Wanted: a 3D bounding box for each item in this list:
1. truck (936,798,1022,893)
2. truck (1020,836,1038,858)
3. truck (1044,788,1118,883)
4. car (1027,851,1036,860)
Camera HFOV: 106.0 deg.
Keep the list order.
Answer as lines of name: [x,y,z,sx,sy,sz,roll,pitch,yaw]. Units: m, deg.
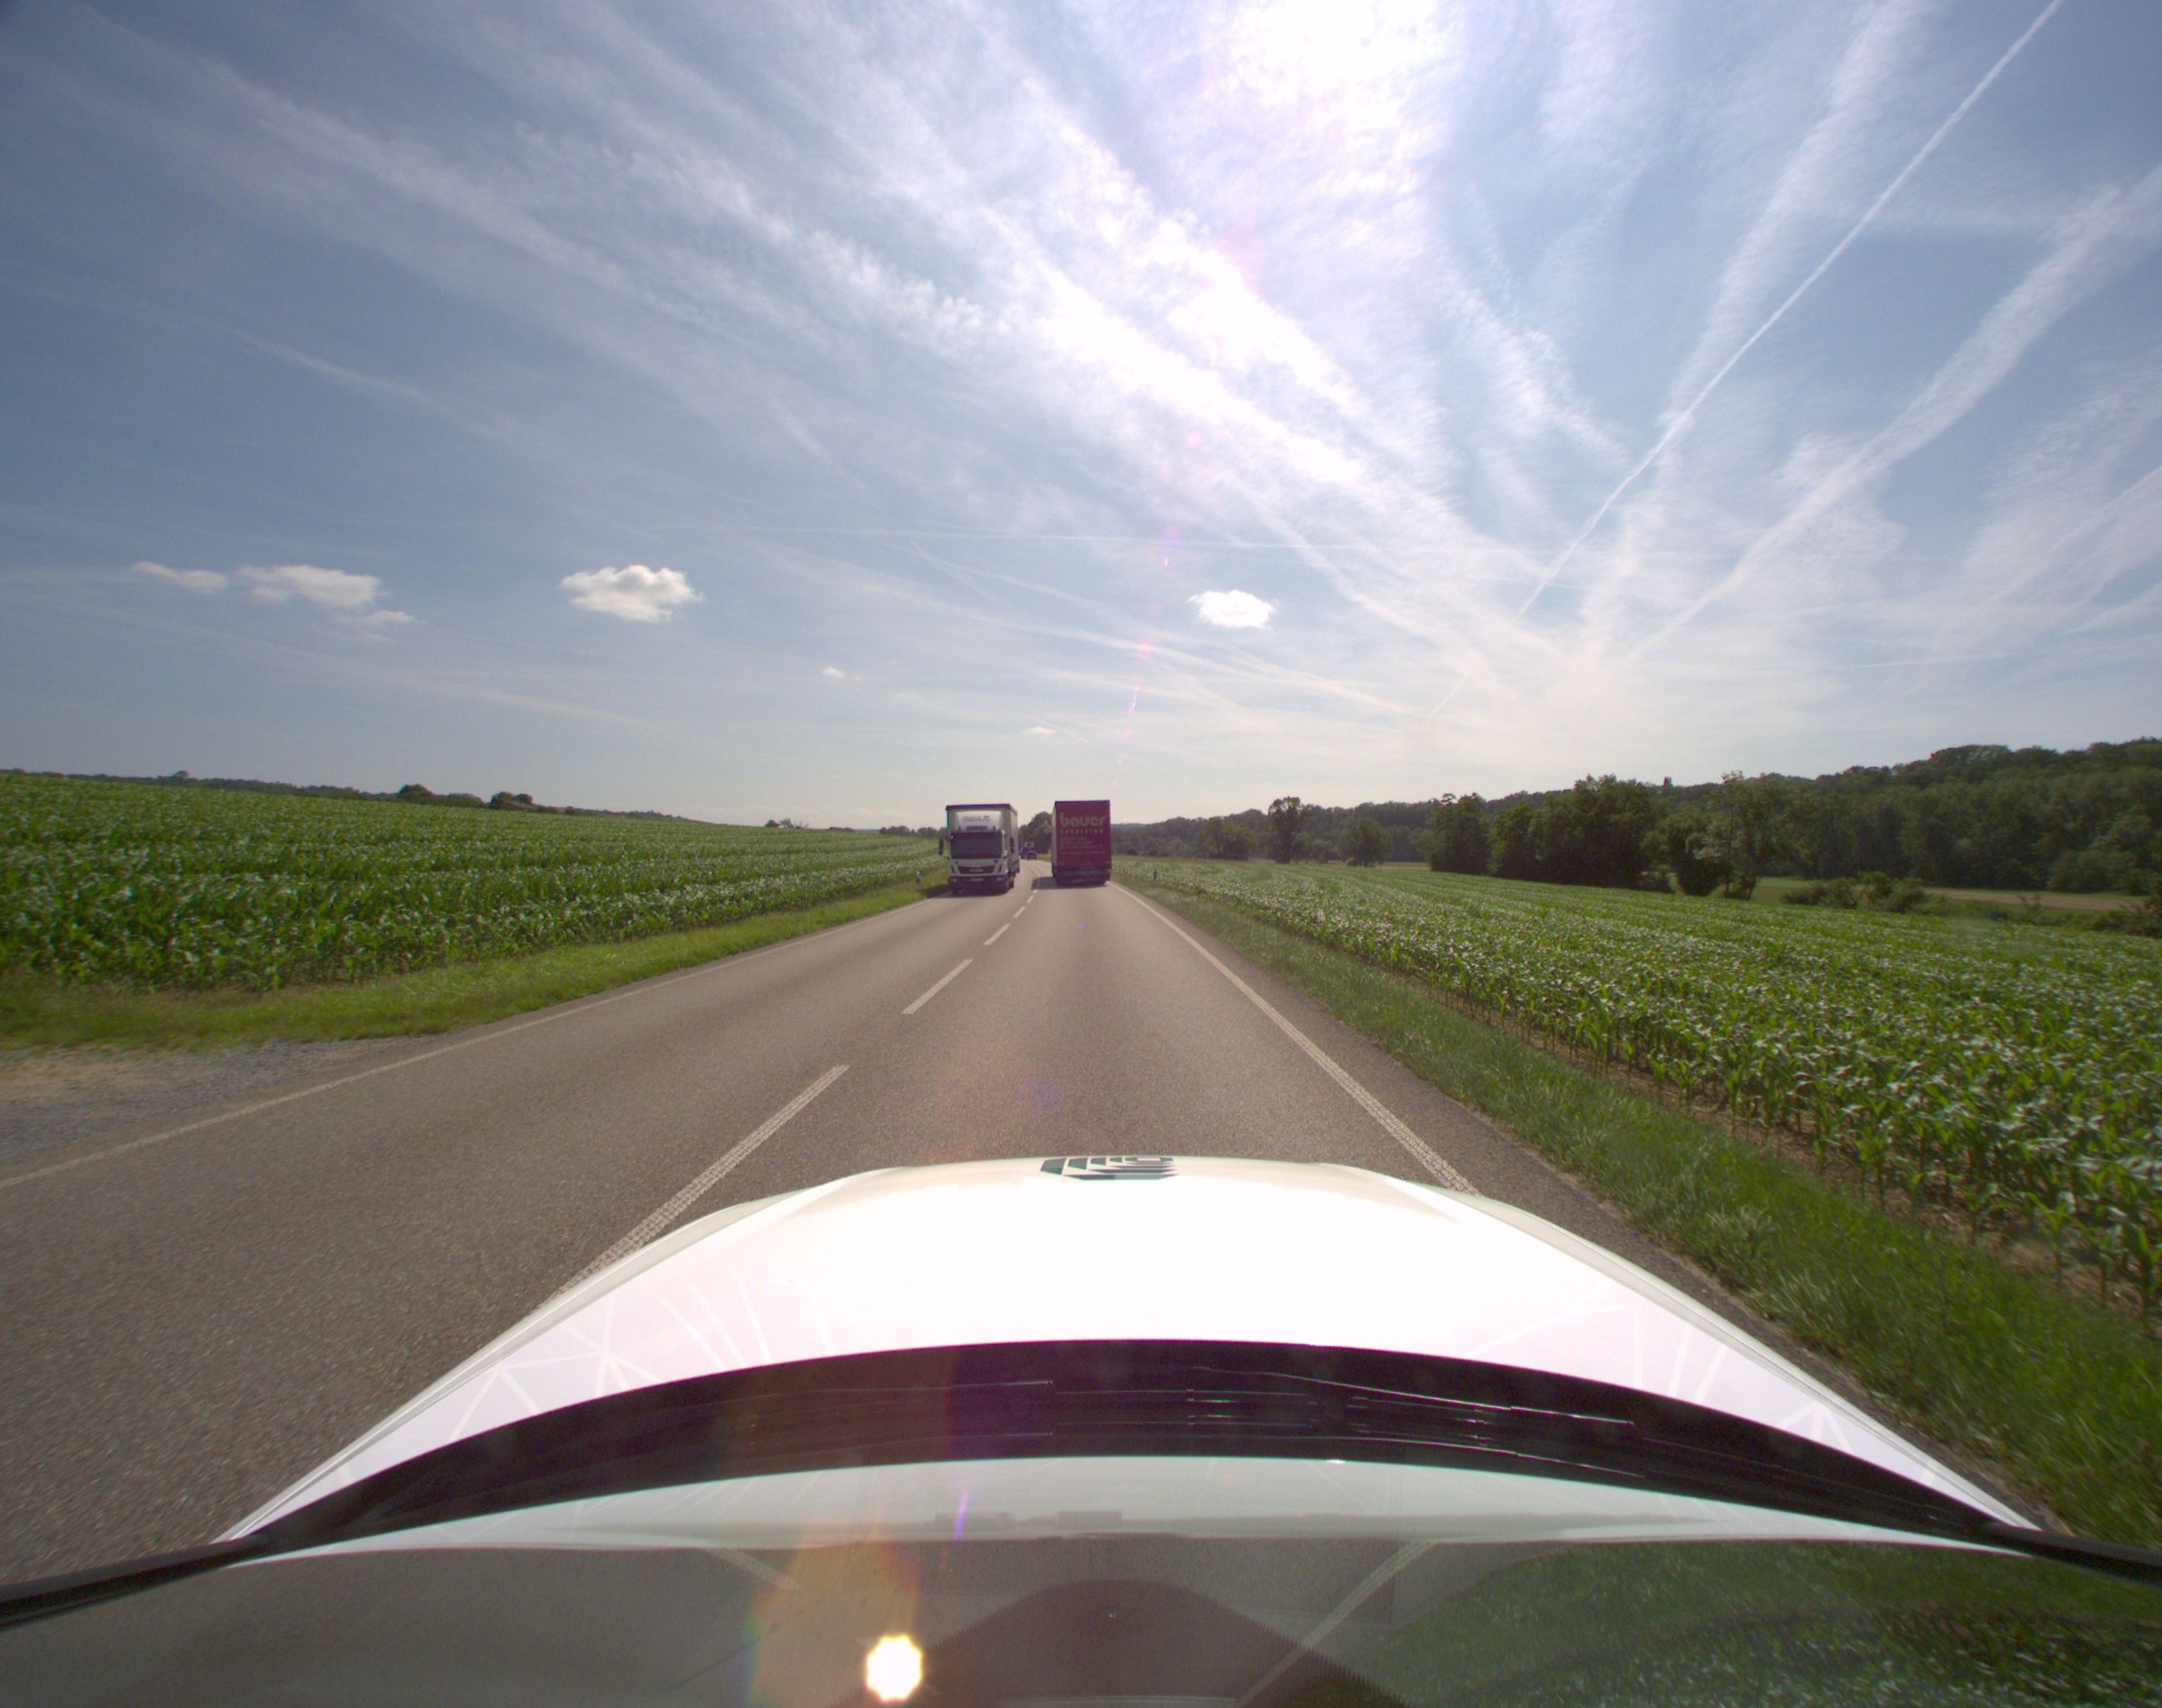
truck: [-4.208,-0.327,35.748,2.734,3.578,9.720,-1,0,-1]
truck: [-11.250,-1.400,175.457,3.633,4.292,11.969,-1,-1,-3]
truck: [-0.163,-0.797,41.190,3.088,4.263,8.302,-1,0,-4]
car: [-9.022,0.275,148.957,1.579,1.501,3.869,-1,0,-5]
